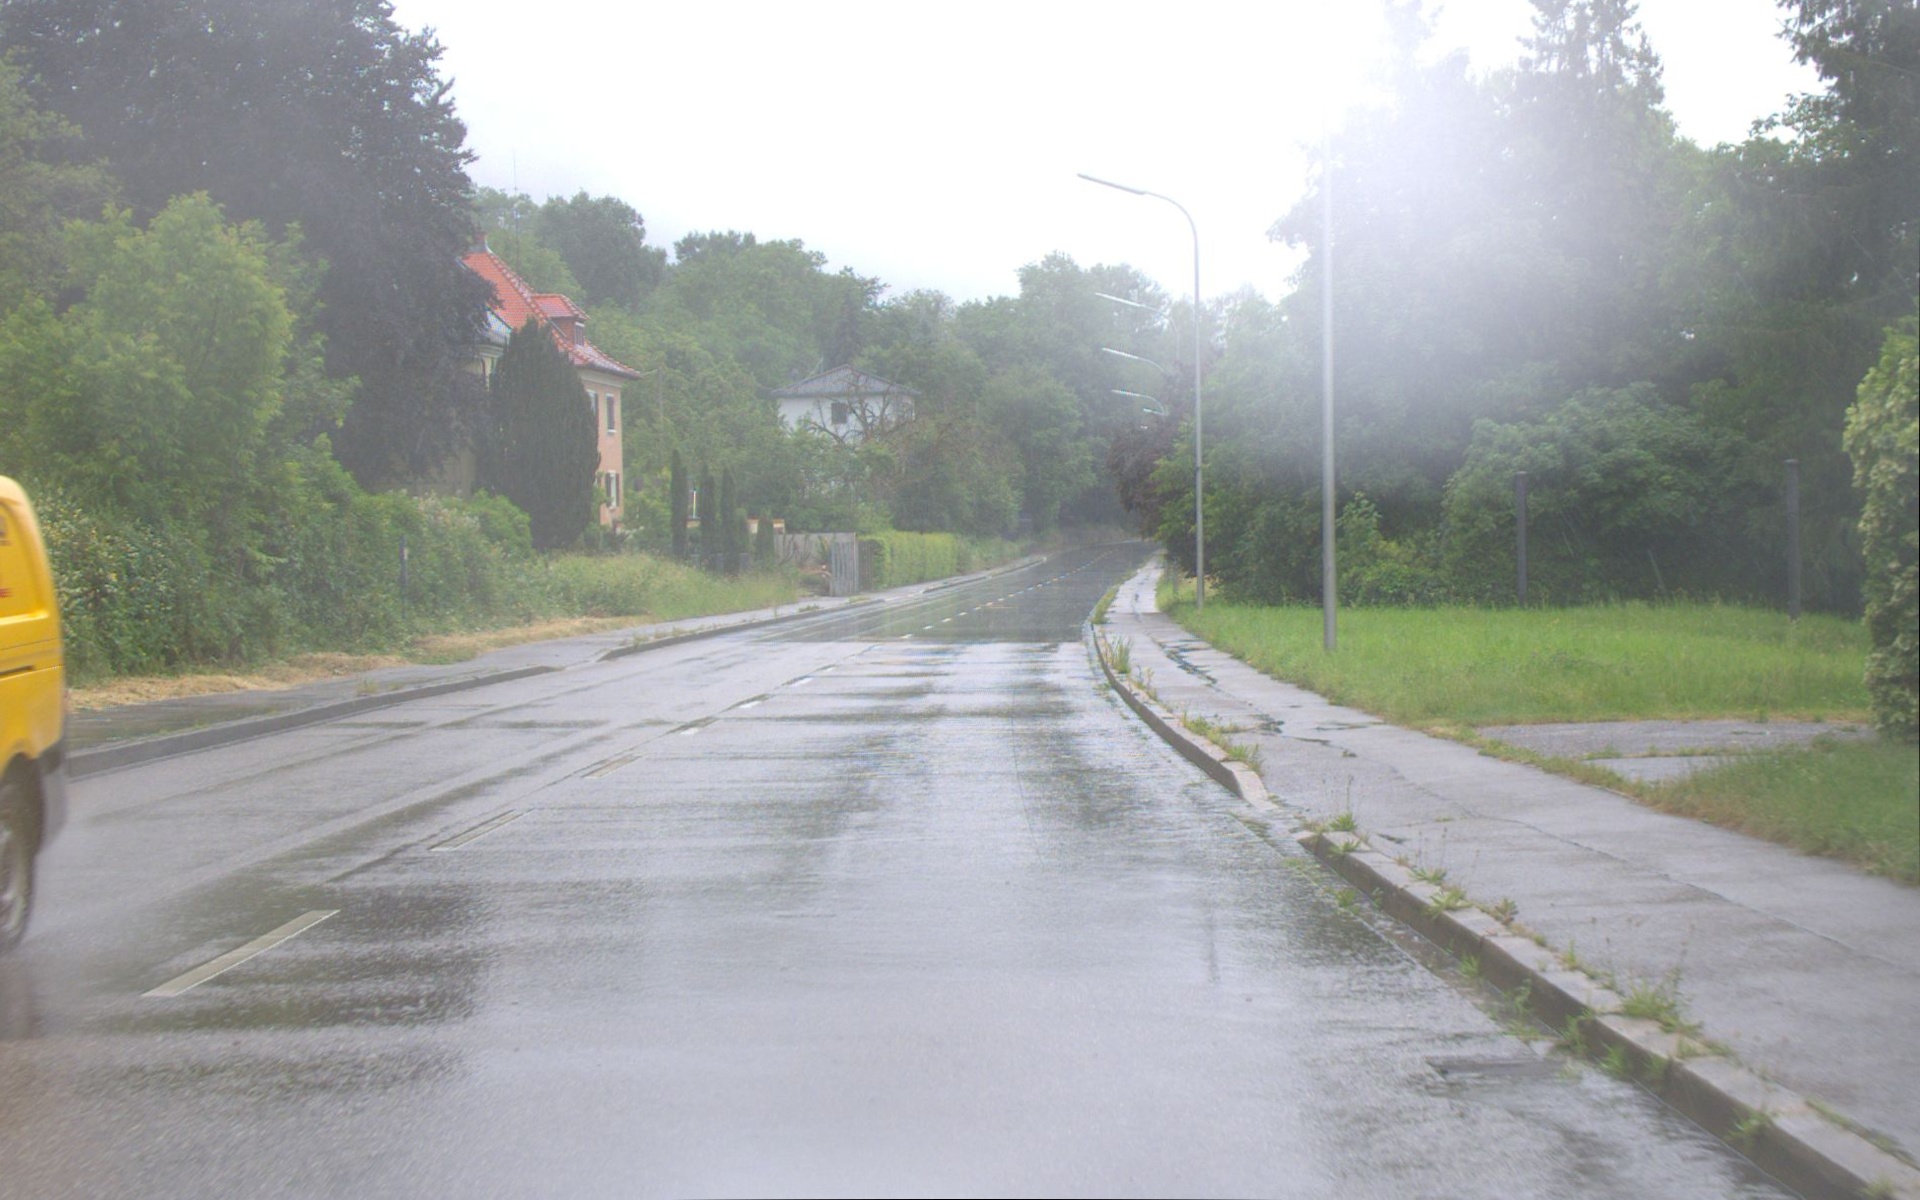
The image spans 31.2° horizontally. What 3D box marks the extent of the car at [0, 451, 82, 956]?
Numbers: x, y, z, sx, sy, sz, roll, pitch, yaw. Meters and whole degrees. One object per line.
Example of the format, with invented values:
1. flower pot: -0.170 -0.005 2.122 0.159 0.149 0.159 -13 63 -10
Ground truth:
1. car: -4.561 0.417 11.268 1.937 1.865 5.036 -1 1 1
